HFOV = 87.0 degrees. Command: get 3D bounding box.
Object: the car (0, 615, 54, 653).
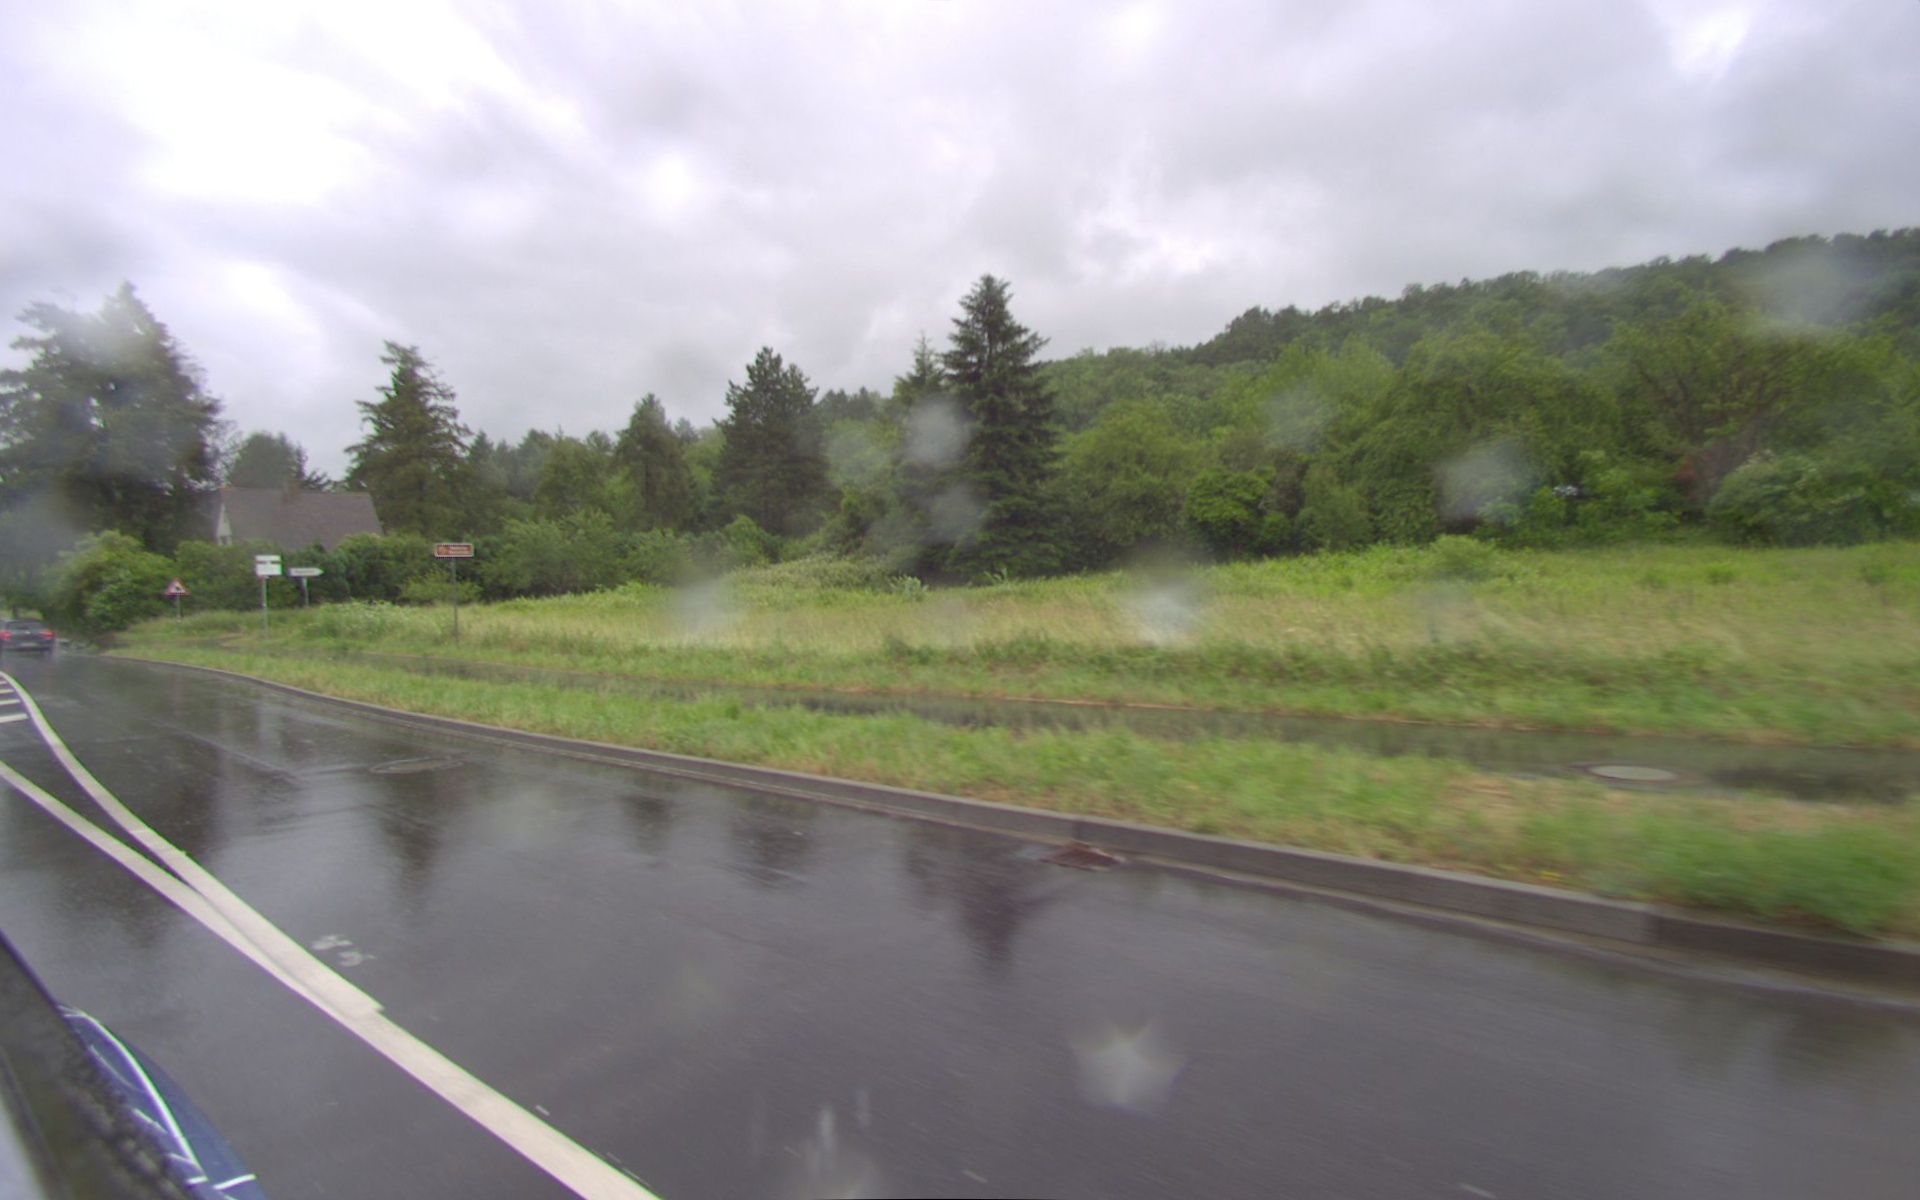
[{"bbox_3d":[-37.300,1.322,40.136,3.767,1.412,1.678,-1,0,43],"label":"car"}]
